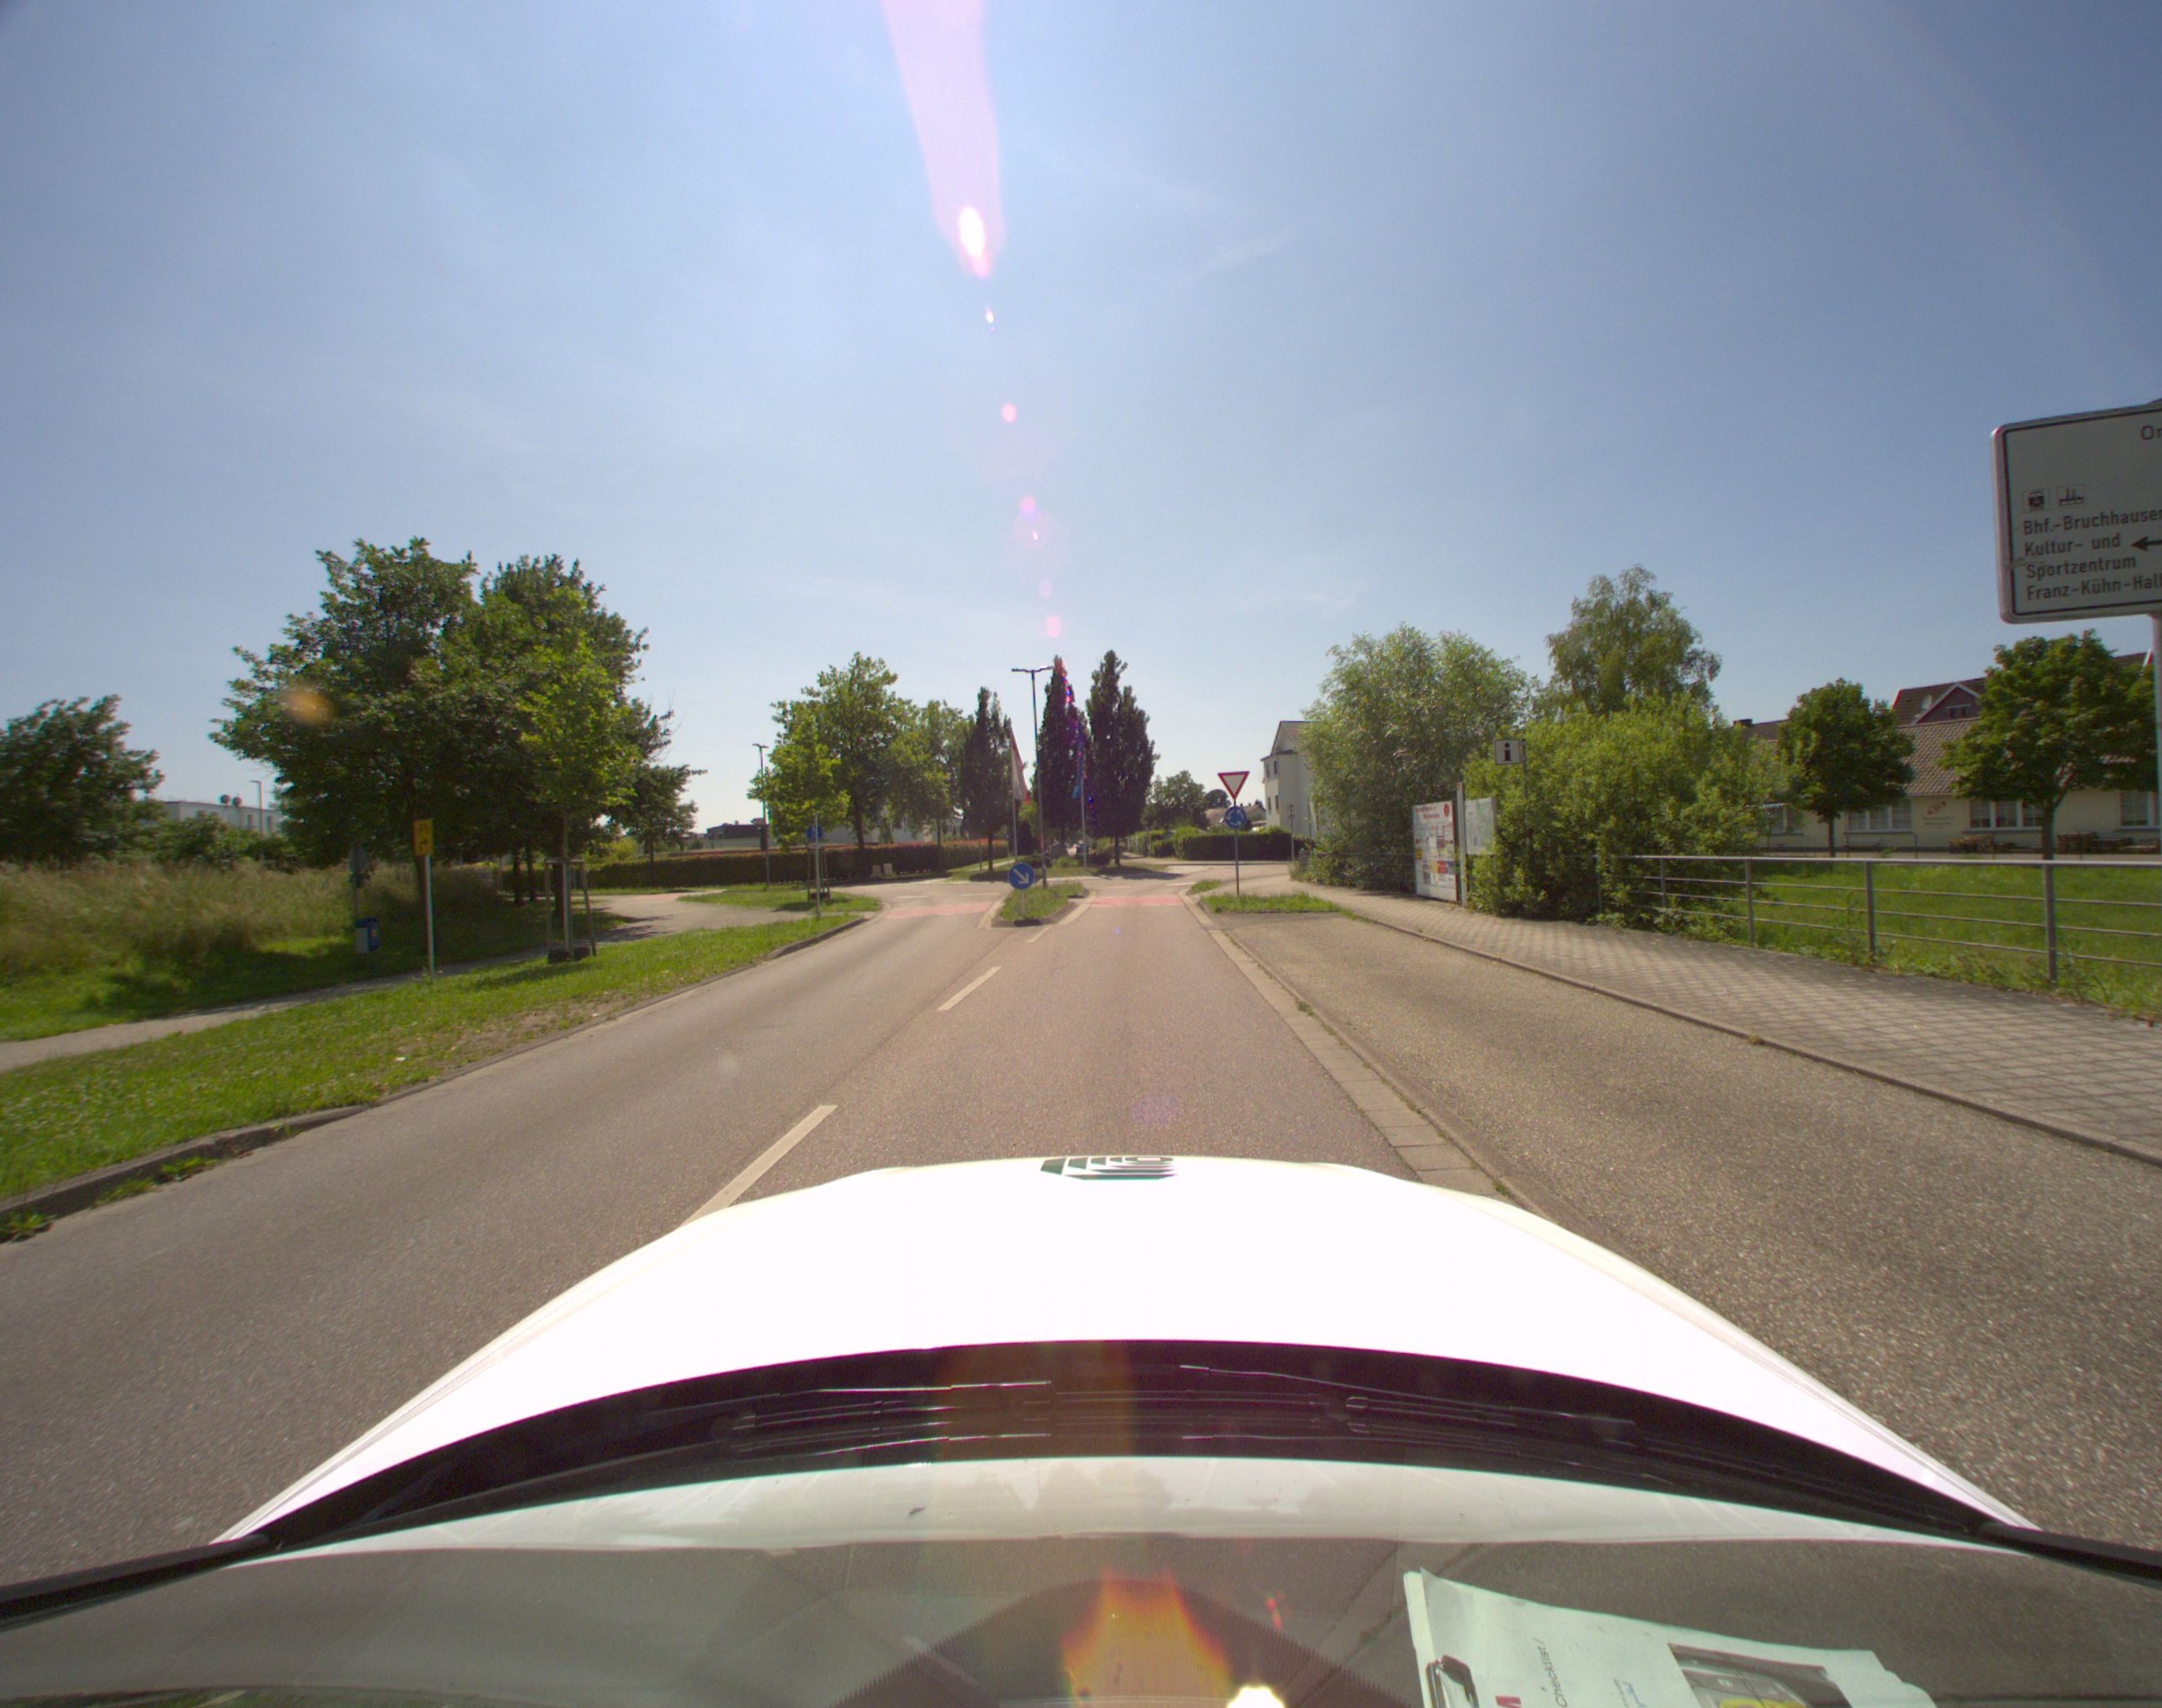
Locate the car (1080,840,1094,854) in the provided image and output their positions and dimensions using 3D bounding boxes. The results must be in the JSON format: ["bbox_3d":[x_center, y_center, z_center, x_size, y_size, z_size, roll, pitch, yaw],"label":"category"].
[{"bbox_3d":[0.811,-0.971,115.925,1.917,1.886,3.999,-1,0,0],"label":"car"}]

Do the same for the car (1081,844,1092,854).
[{"bbox_3d":[1.049,-0.938,158.871,1.987,1.770,4.000,-1,0,0],"label":"car"}]
